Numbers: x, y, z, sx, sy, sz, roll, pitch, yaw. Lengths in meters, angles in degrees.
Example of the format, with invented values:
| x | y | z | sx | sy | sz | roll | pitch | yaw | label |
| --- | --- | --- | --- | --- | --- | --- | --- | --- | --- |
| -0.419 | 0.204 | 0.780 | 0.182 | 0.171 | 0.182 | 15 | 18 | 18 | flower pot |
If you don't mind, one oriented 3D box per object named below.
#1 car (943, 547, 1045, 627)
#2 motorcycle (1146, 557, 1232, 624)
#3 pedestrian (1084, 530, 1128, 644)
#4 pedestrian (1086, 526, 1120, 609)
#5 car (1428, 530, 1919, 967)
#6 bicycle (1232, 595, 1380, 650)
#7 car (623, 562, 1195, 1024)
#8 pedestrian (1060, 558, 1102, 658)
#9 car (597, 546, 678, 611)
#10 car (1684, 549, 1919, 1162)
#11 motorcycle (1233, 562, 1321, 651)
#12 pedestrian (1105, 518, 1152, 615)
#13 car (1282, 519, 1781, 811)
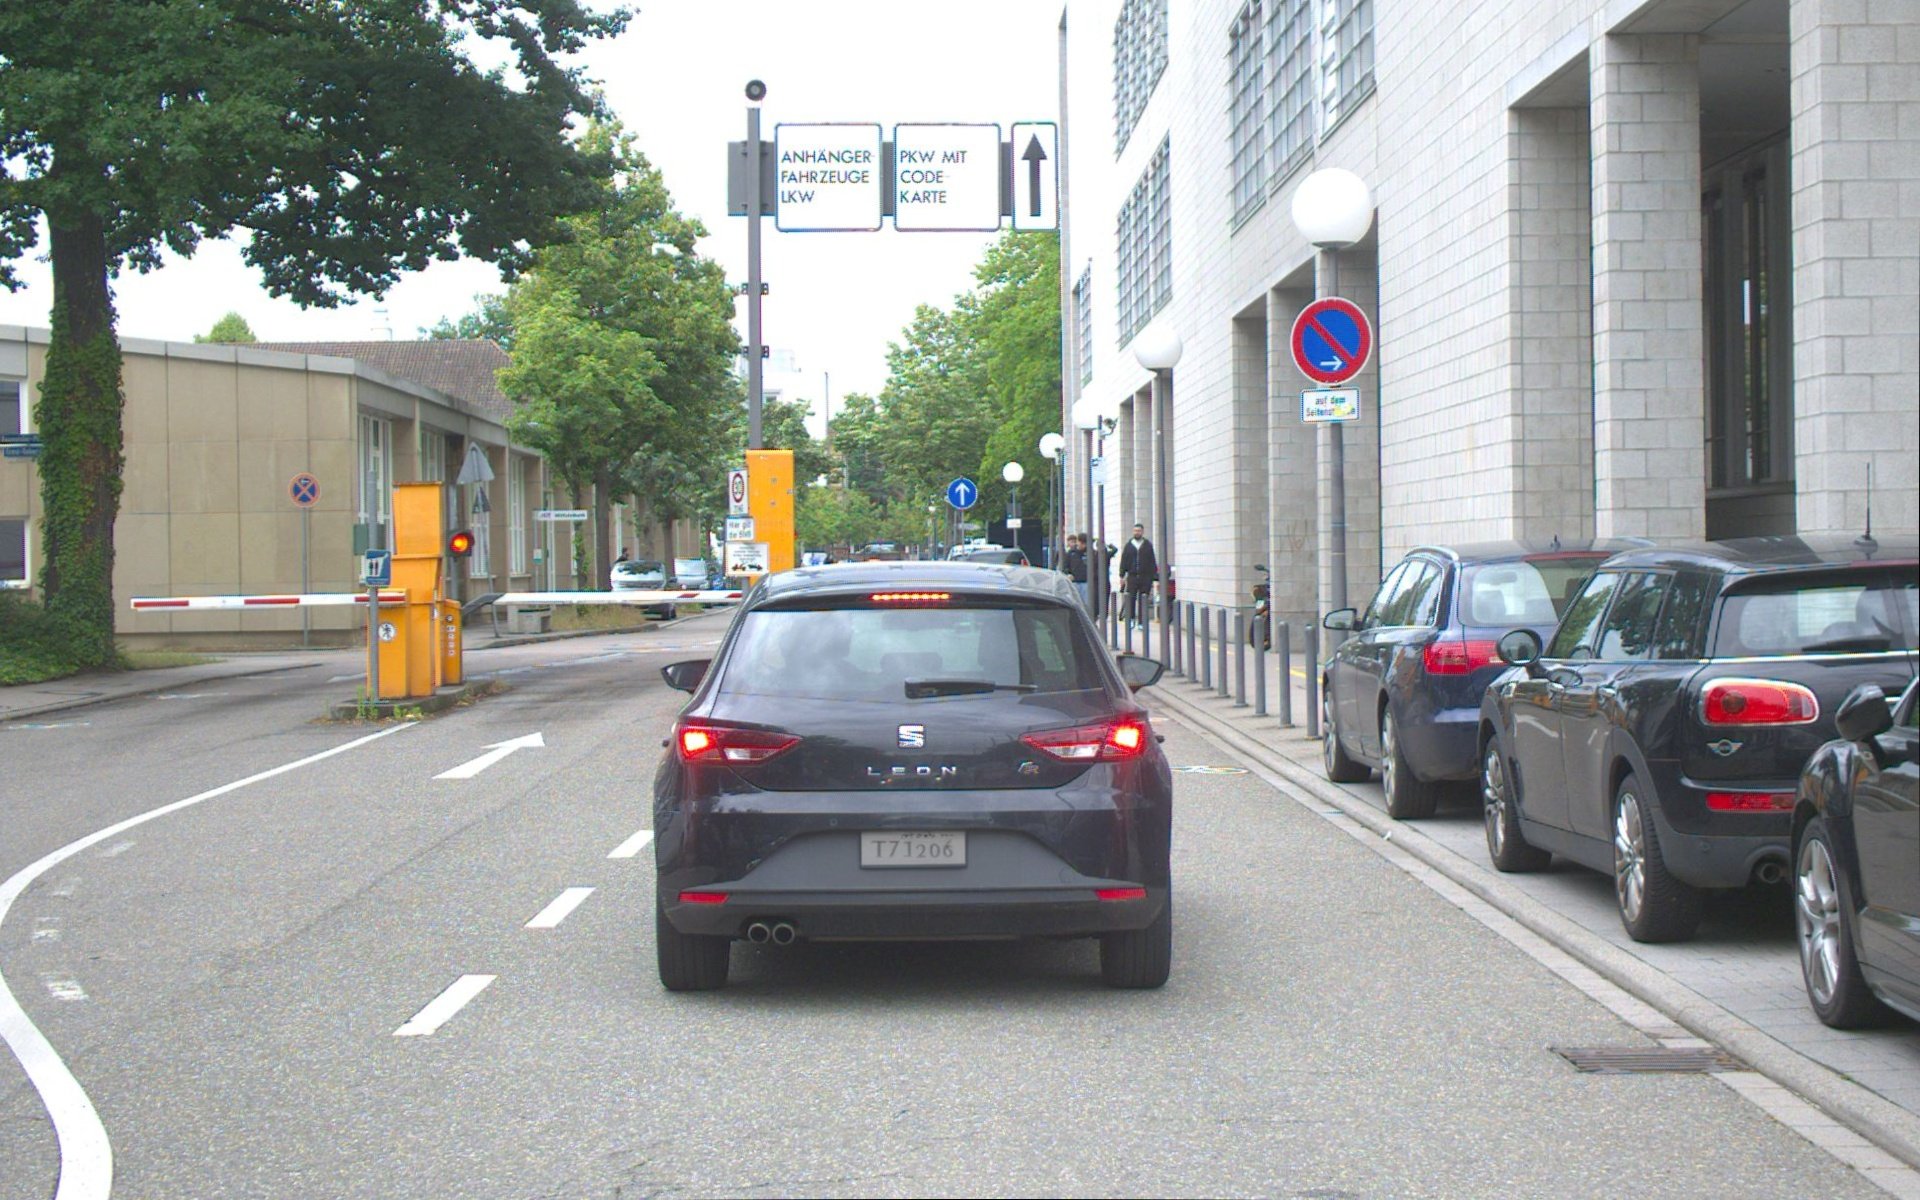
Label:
| x | y | z | sx | sy | sz | roll | pitch | yaw | label |
| --- | --- | --- | --- | --- | --- | --- | --- | --- | --- |
| 0.704 | -0.283 | 74.400 | 1.993 | 1.617 | 4.428 | -2 | 0 | -1 | car |
| 4.384 | -0.193 | 65.550 | 0.760 | 1.144 | 2.660 | 2 | 3 | 24 | motorcycle |
| 2.223 | -0.205 | 52.249 | 0.611 | 1.708 | 0.574 | -1 | 1 | 3 | pedestrian |
| 2.966 | -0.673 | 71.100 | 0.696 | 1.708 | 0.489 | 0 | 1 | 4 | pedestrian |
| 3.216 | 0.466 | 14.014 | 1.817 | 1.438 | 4.521 | -2 | 1 | -2 | car |
| 4.604 | 0.304 | 45.788 | 1.896 | 0.696 | 0.493 | 0 | 3 | -4 | bicycle |
| -0.206 | 0.581 | 12.797 | 1.782 | 1.414 | 4.130 | 0 | 1 | -1 | car |
| 2.099 | 0.129 | 59.493 | 0.690 | 1.693 | 0.588 | 1 | 3 | 3 | pedestrian |
| -8.072 | -0.559 | 86.353 | 1.770 | 1.595 | 4.000 | 0 | 1 | -2 | car |
| 3.300 | 0.640 | 9.126 | 1.848 | 1.437 | 4.419 | 0 | 2 | 0 | car |
| 4.518 | 0.078 | 48.899 | 0.566 | 1.144 | 2.214 | 2 | 3 | 24 | motorcycle |
| 2.982 | -0.597 | 60.824 | 0.727 | 1.693 | 0.588 | 0 | 3 | -6 | pedestrian |
| 3.121 | 0.309 | 19.850 | 1.993 | 1.447 | 4.923 | -1 | 0 | -1 | car |
